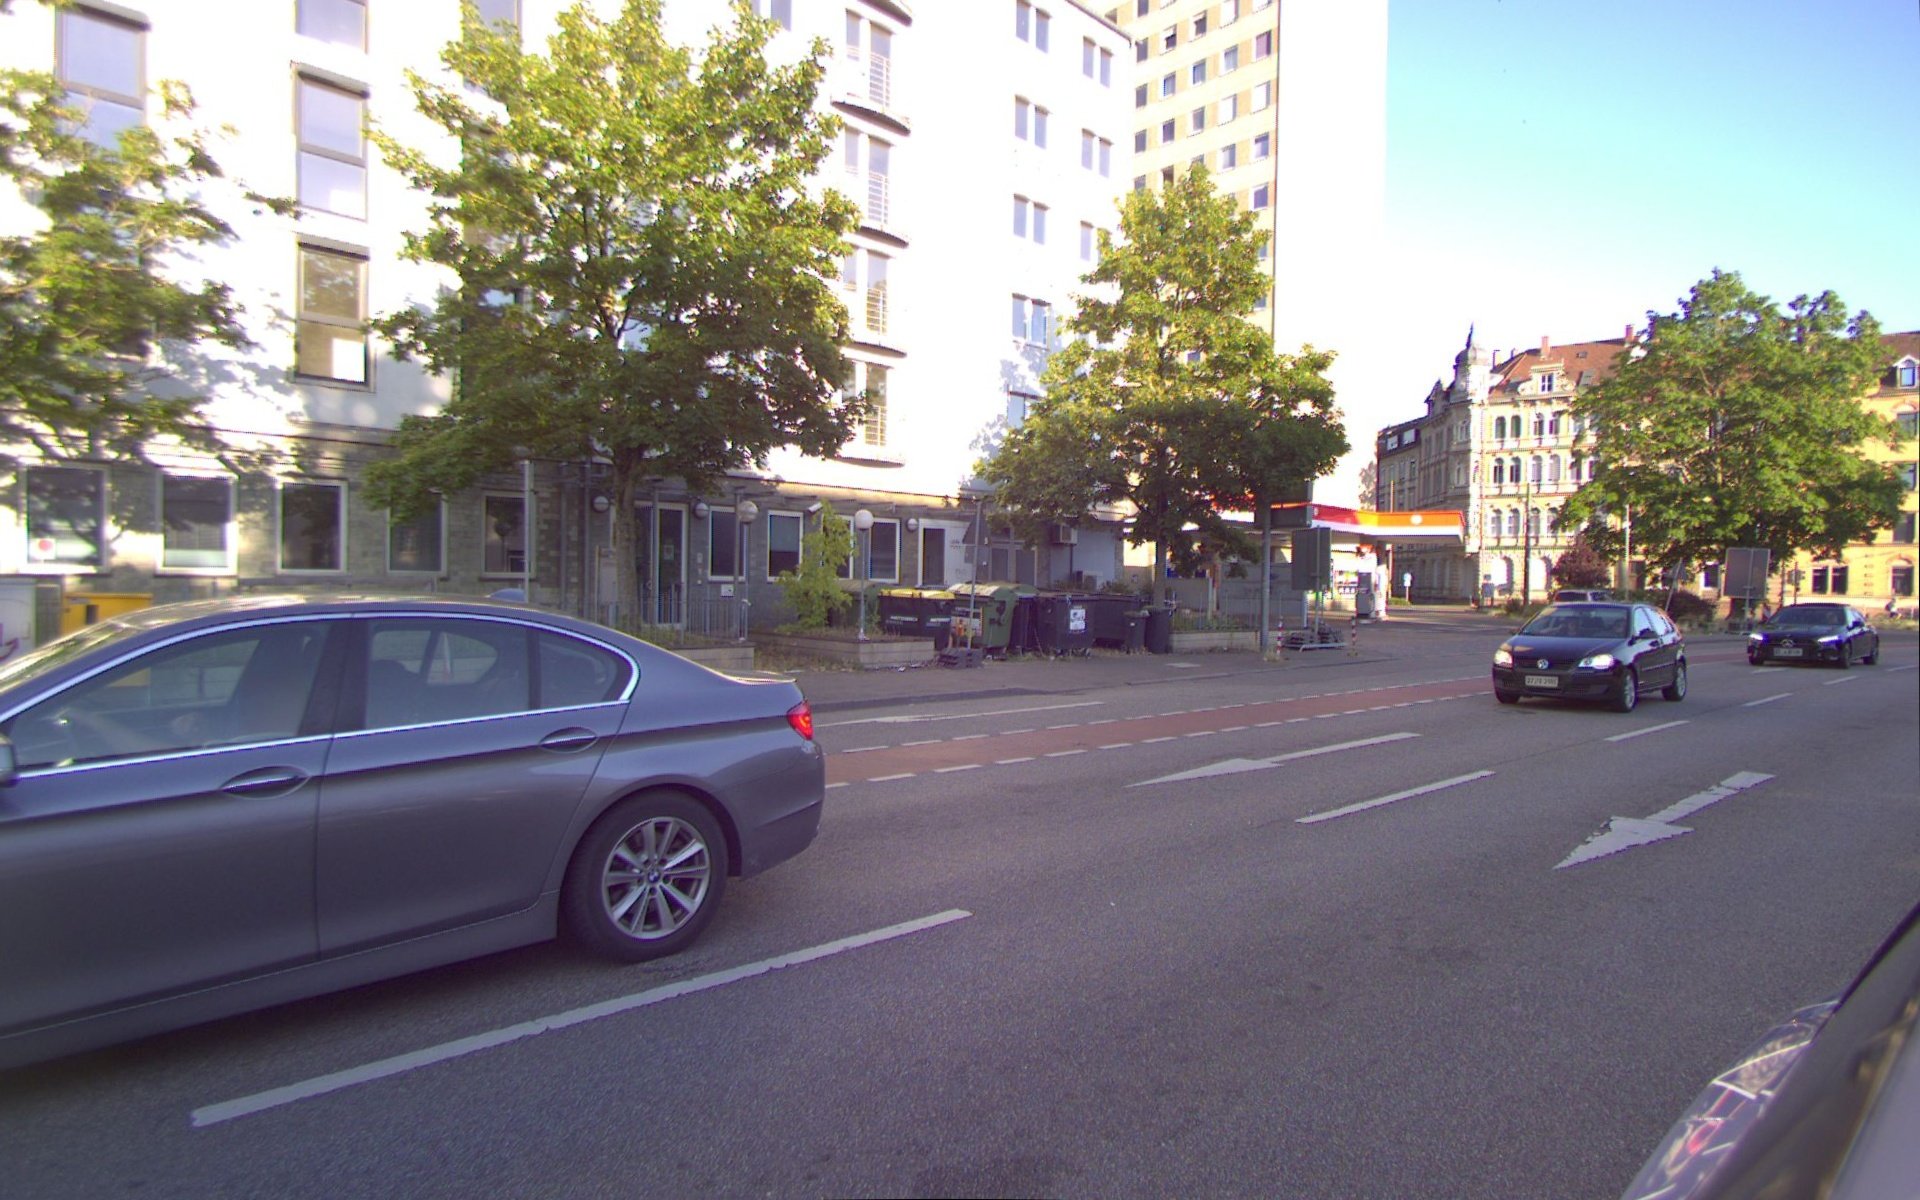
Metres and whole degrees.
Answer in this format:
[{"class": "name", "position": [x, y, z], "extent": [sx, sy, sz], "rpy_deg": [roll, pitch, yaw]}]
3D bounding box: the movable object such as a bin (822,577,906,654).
[{"class": "movable object such as a bin", "position": [-1.940, 0.286, 20.410], "extent": [1.348, 1.479, 1.088], "rpy_deg": [2, 1, 45]}]

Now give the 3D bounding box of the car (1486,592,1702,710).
[{"class": "car", "position": [9.141, 0.621, 14.477], "extent": [3.804, 1.467, 1.583], "rpy_deg": [0, 0, -41]}]

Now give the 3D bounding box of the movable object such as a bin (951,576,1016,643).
[{"class": "movable object such as a bin", "position": [0.558, 0.207, 24.192], "extent": [1.143, 1.517, 1.033], "rpy_deg": [0, 1, -44]}]

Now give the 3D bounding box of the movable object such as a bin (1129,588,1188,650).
[{"class": "movable object such as a bin", "position": [4.545, 0.414, 23.183], "extent": [0.938, 1.345, 0.954], "rpy_deg": [0, 1, -43]}]

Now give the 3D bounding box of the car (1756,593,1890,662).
[{"class": "car", "position": [20.214, 0.574, 23.662], "extent": [3.973, 1.467, 1.731], "rpy_deg": [0, 0, -39]}]

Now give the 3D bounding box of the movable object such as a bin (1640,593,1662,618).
[{"class": "movable object such as a bin", "position": [29.424, 0.227, 43.106], "extent": [0.675, 1.031, 0.544], "rpy_deg": [0, 1, -36]}]

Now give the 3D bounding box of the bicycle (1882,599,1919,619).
[{"class": "bicycle", "position": [53.718, 0.489, 57.498], "extent": [1.920, 1.072, 0.444], "rpy_deg": [2, 1, 43]}]

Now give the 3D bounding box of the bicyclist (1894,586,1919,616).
[{"class": "bicyclist", "position": [53.826, 0.053, 57.489], "extent": [1.062, 1.669, 0.721], "rpy_deg": [2, 1, 43]}]

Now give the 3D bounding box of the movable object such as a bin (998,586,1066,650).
[{"class": "movable object such as a bin", "position": [1.565, 0.373, 22.070], "extent": [1.143, 1.345, 0.954], "rpy_deg": [0, 1, -44]}]

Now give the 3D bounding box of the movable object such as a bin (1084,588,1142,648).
[{"class": "movable object such as a bin", "position": [3.580, 0.402, 23.668], "extent": [0.938, 1.345, 0.954], "rpy_deg": [0, 1, -43]}]

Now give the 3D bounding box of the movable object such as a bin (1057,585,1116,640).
[{"class": "movable object such as a bin", "position": [3.086, 0.290, 24.625], "extent": [1.080, 1.299, 0.954], "rpy_deg": [0, 1, -44]}]

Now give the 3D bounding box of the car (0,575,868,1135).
[{"class": "car", "position": [-2.702, 0.657, 3.720], "extent": [4.588, 1.467, 1.817], "rpy_deg": [0, 0, -43]}]

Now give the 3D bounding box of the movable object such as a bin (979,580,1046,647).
[{"class": "movable object such as a bin", "position": [1.206, 0.294, 23.199], "extent": [1.143, 1.467, 1.033], "rpy_deg": [0, 1, -44]}]

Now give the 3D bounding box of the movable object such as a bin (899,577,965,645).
[{"class": "movable object such as a bin", "position": [-0.659, 0.235, 23.630], "extent": [1.143, 1.517, 1.033], "rpy_deg": [0, 1, -44]}]

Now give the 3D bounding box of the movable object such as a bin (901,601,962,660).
[{"class": "movable object such as a bin", "position": [-0.552, 0.573, 19.479], "extent": [0.851, 1.058, 0.807], "rpy_deg": [2, 1, 45]}]

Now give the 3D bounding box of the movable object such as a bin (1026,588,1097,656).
[{"class": "movable object such as a bin", "position": [2.122, 0.435, 21.102], "extent": [1.143, 1.345, 0.954], "rpy_deg": [0, 1, -44]}]

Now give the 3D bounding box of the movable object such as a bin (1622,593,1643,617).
[{"class": "movable object such as a bin", "position": [29.110, 0.212, 43.791], "extent": [0.675, 1.031, 0.544], "rpy_deg": [0, 1, -36]}]

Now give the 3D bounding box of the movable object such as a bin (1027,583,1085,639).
[{"class": "movable object such as a bin", "position": [2.406, 0.260, 25.353], "extent": [1.080, 1.345, 0.954], "rpy_deg": [0, 1, -44]}]

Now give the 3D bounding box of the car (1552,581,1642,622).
[{"class": "car", "position": [25.772, 0.030, 40.912], "extent": [3.723, 1.535, 1.691], "rpy_deg": [-1, 2, -34]}]

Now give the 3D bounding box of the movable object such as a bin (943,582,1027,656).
[{"class": "movable object such as a bin", "position": [0.515, 0.361, 20.825], "extent": [1.348, 1.441, 1.088], "rpy_deg": [2, 2, 45]}]
